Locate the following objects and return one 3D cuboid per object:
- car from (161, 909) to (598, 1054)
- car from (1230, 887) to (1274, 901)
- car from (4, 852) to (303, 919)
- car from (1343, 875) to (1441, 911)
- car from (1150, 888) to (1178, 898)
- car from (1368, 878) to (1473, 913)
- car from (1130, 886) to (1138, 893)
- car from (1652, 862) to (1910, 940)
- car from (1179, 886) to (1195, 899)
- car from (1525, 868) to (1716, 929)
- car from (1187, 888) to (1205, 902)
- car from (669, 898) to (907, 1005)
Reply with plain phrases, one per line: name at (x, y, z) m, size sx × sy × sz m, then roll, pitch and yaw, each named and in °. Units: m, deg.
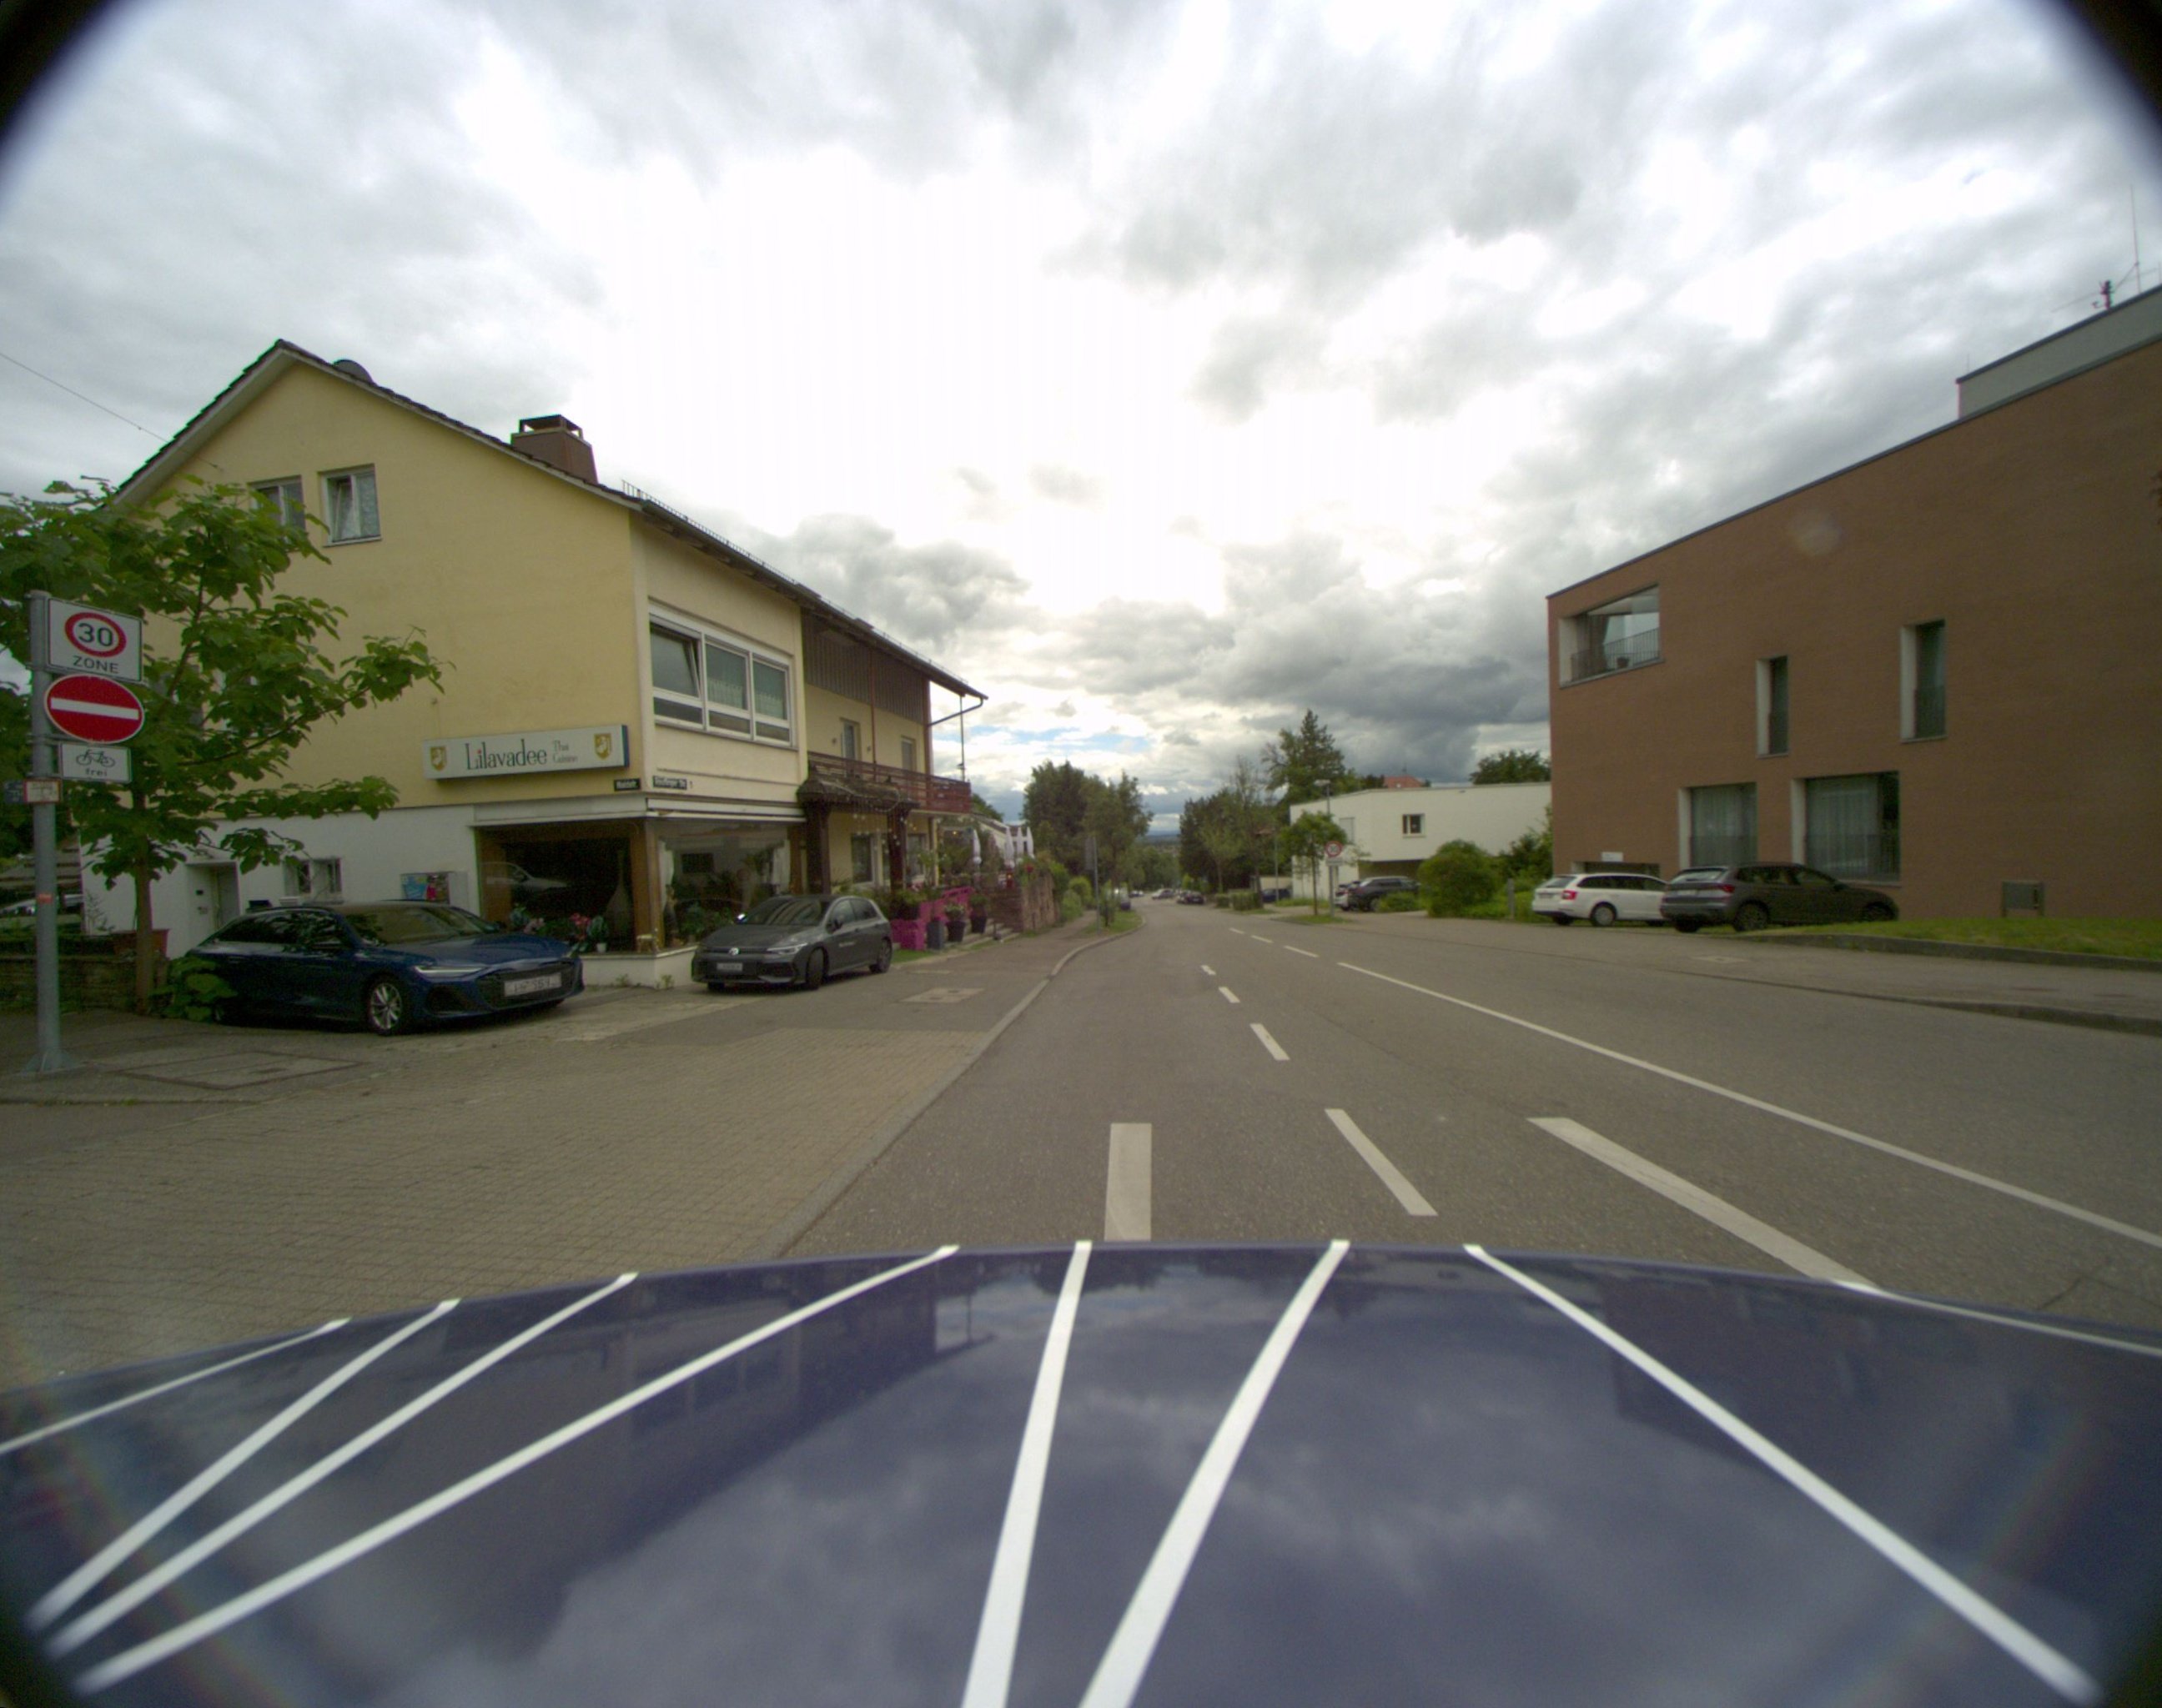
car at (-8.536, 1.419, 9.289) m, size 4.739 × 1.378 × 1.802 m, roll -2°, pitch -1°, yaw 18°
car at (16.535, 3.887, 73.731) m, size 3.995 × 1.278 × 1.665 m, roll -2°, pitch -3°, yaw 7°
car at (-22.725, 0.829, 18.897) m, size 1.795 × 1.452 × 4.336 m, roll -2°, pitch -4°, yaw 22°
car at (15.046, 1.897, 36.879) m, size 3.996 × 1.585 × 1.795 m, roll -2°, pitch -3°, yaw 3°
car at (12.880, 6.064, 117.786) m, size 4.007 × 1.476 × 1.723 m, roll 0°, pitch -3°, yaw -32°
car at (15.592, 1.899, 35.038) m, size 3.996 × 1.476 × 1.728 m, roll -2°, pitch -3°, yaw 3°
car at (12.801, 8.584, 183.732) m, size 1.883 × 1.412 × 4.369 m, roll -1°, pitch -1°, yaw 1°
car at (14.908, 0.995, 16.328) m, size 3.998 × 1.476 × 1.727 m, roll -1°, pitch -3°, yaw -3°
car at (12.484, 4.557, 89.578) m, size 1.661 × 1.412 × 4.372 m, roll -2°, pitch -3°, yaw 6°
car at (14.607, 1.208, 20.716) m, size 3.998 × 1.476 × 1.727 m, roll -1°, pitch -3°, yaw -3°
car at (12.168, 4.302, 80.580) m, size 1.661 × 1.412 × 4.004 m, roll -2°, pitch -3°, yaw 5°
car at (-4.550, 1.480, 12.627) m, size 1.796 × 1.452 × 4.332 m, roll -1°, pitch -4°, yaw 8°
